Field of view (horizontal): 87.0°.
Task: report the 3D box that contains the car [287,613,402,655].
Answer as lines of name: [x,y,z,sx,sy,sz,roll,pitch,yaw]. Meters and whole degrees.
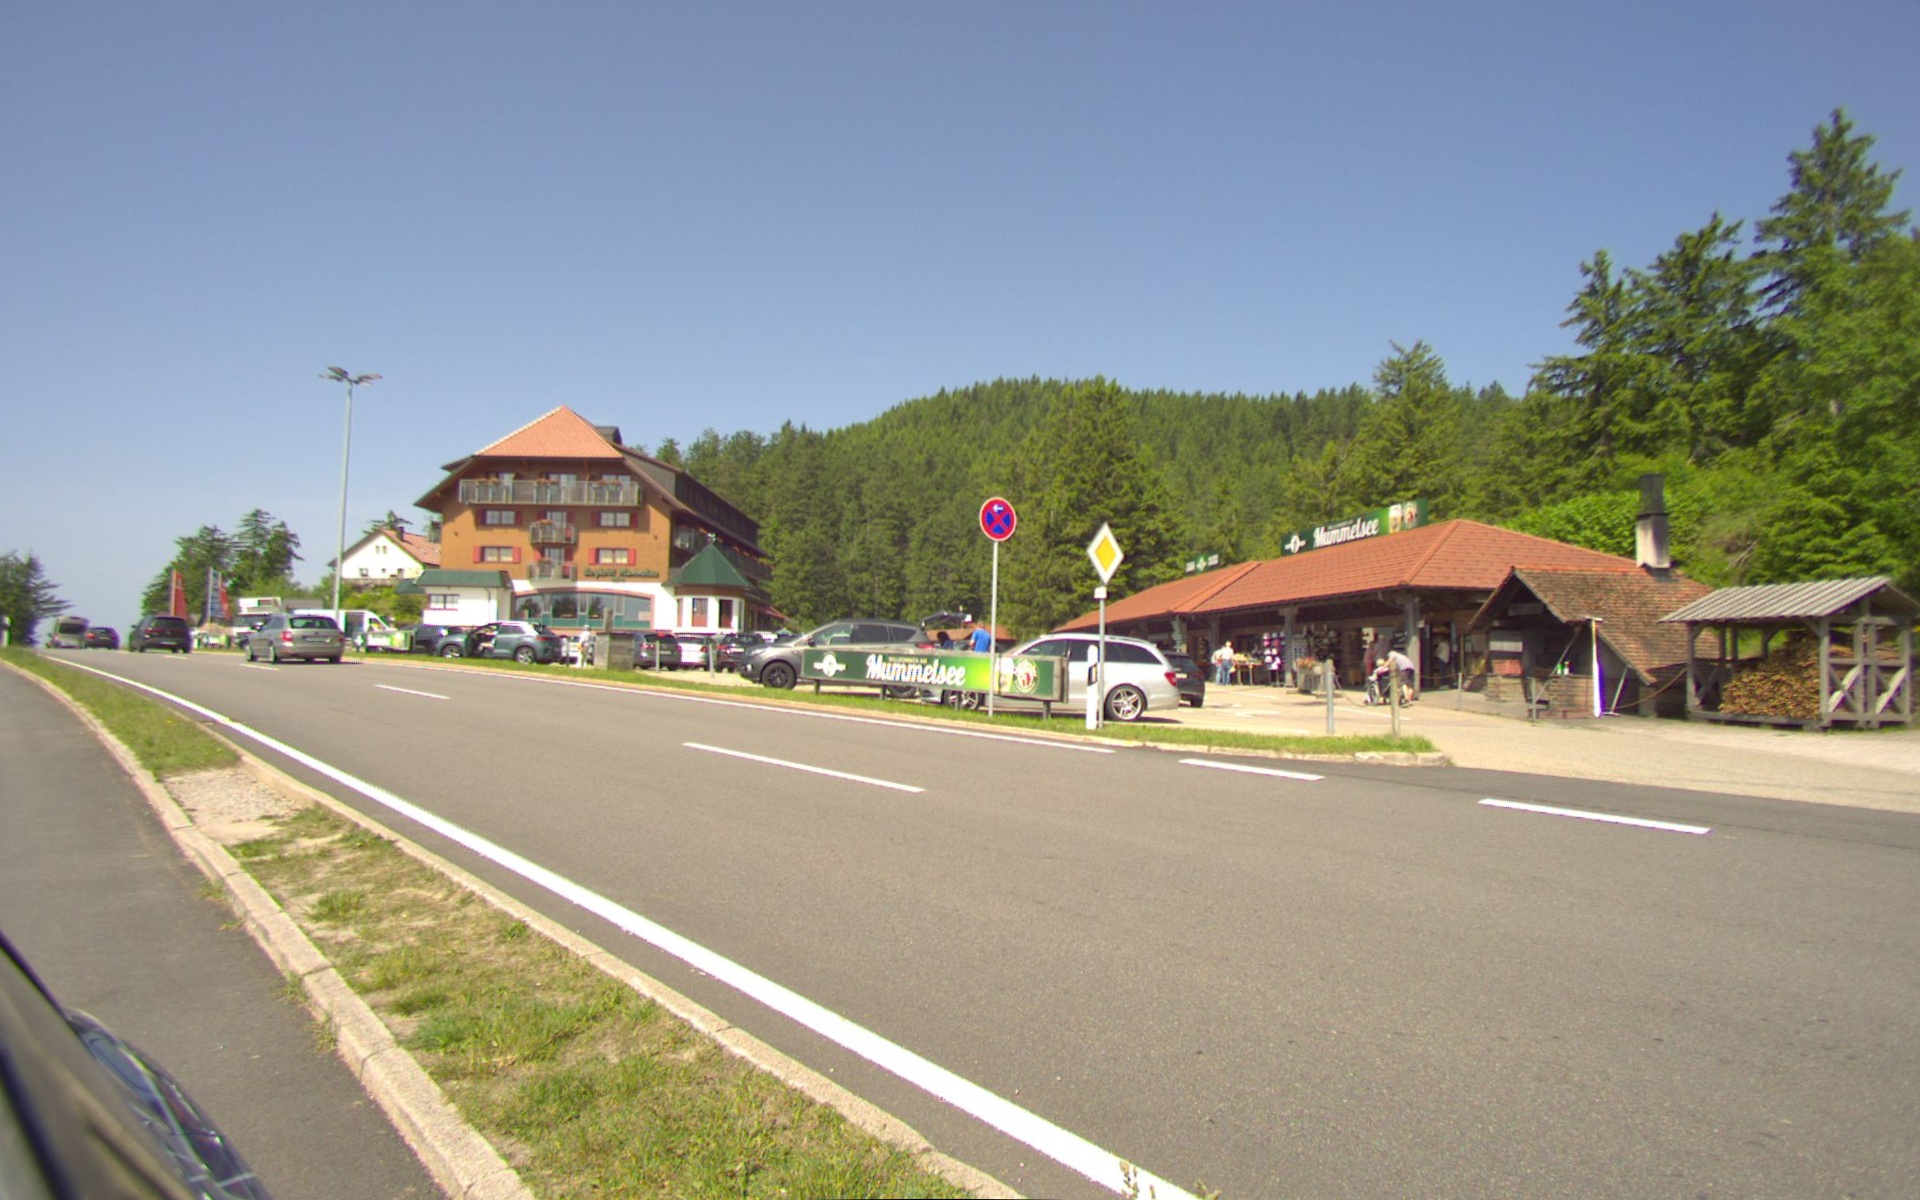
car: [-44.295,2.466,73.130,6.845,2.812,2.675,3,-3,-28]

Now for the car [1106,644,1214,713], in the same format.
car: [5.275,2.047,27.210,1.972,1.541,4.000,3,-2,-1]

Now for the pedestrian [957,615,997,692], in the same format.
pedestrian: [0.363,1.175,22.276,0.735,1.648,0.848,2,-2,-7]

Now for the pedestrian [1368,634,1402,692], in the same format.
pedestrian: [13.213,1.946,31.471,0.740,1.750,0.802,1,-2,6]

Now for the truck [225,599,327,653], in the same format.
truck: [-51.291,2.009,76.215,2.838,3.850,9.034,0,-2,-9]

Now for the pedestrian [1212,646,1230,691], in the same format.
pedestrian: [9.895,2.584,38.410,0.499,1.668,0.472,1,-2,-12]

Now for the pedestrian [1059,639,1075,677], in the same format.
pedestrian: [5.759,3.113,54.561,0.682,2.029,0.753,1,-2,-6]

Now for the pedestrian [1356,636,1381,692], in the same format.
pedestrian: [13.109,2.040,32.446,0.555,1.750,0.663,-1,-3,41]

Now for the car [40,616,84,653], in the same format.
car: [-70.122,2.656,79.019,5.918,2.772,1.989,-1,-3,44]

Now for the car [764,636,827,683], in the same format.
car: [-6.217,2.245,38.642,1.798,1.641,4.095,2,-3,-1]

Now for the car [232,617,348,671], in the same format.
car: [-19.961,1.248,30.076,4.715,1.485,1.858,-1,-2,43]

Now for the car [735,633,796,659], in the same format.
car: [-14.077,3.350,73.415,4.035,1.729,1.921,2,-3,-2]

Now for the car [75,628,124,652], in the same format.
car: [-54.113,2.509,63.626,4.448,1.449,1.688,-1,-3,42]

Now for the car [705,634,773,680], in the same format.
car: [-8.633,2.229,39.850,1.798,1.641,4.095,2,-3,-1]

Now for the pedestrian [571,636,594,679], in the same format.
pedestrian: [-14.365,2.183,38.535,0.733,1.637,0.685,2,-3,-17]

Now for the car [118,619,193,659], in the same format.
car: [-35.846,1.727,45.051,4.568,1.660,1.971,-1,-3,44]

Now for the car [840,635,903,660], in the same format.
car: [-6.853,3.677,78.705,4.775,1.729,1.921,2,-3,-2]

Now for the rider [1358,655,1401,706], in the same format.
rider: [11.121,2.124,26.846,0.829,1.284,0.907,1,-2,6]

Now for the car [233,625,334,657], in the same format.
car: [-36.082,2.203,54.080,4.030,1.539,1.827,2,-3,-7]

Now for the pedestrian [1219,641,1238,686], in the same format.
pedestrian: [10.069,2.381,37.924,0.499,1.668,0.472,1,-2,-12]

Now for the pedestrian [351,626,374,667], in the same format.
pedestrian: [-29.697,2.317,50.275,0.802,2.029,0.707,-1,-3,42]

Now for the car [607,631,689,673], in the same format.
car: [-11.717,1.916,37.855,1.694,1.441,4.009,4,-3,-36]

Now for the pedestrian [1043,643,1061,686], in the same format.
pedestrian: [4.424,3.117,48.849,0.682,2.029,0.753,1,-2,-6]

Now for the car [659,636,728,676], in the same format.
car: [-10.904,2.278,41.688,1.798,1.524,4.095,2,-3,-1]

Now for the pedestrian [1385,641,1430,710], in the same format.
pedestrian: [11.432,1.917,25.889,0.829,1.712,0.802,1,-2,7]

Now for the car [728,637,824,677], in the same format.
car: [-8.302,2.584,45.900,4.033,1.641,1.825,2,-3,-4]

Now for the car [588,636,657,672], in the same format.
car: [-15.282,2.444,46.059,1.798,1.524,4.095,2,-3,-1]

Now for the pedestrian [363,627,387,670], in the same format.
pedestrian: [-27.955,2.326,48.383,0.802,2.029,0.707,-1,-3,42]

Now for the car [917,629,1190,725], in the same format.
car: [1.514,1.310,17.489,4.436,1.441,1.723,2,-3,-3]

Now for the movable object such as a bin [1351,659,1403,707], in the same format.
movable object such as a bin: [11.104,2.186,26.969,0.972,1.198,1.214,1,-2,6]

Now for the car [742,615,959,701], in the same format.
car: [-2.360,1.270,22.173,4.483,1.668,1.724,2,-3,-5]

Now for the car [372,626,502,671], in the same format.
car: [-20.881,1.944,40.548,4.207,1.641,1.825,2,-3,-4]

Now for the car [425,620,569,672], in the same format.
car: [-16.343,1.625,35.894,4.207,1.641,1.825,2,-3,-4]

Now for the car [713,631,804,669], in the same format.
car: [-9.650,2.408,48.656,4.033,1.641,1.825,2,-3,-4]

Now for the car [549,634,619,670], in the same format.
car: [-17.517,2.415,47.380,1.798,1.524,4.095,2,-3,-1]
